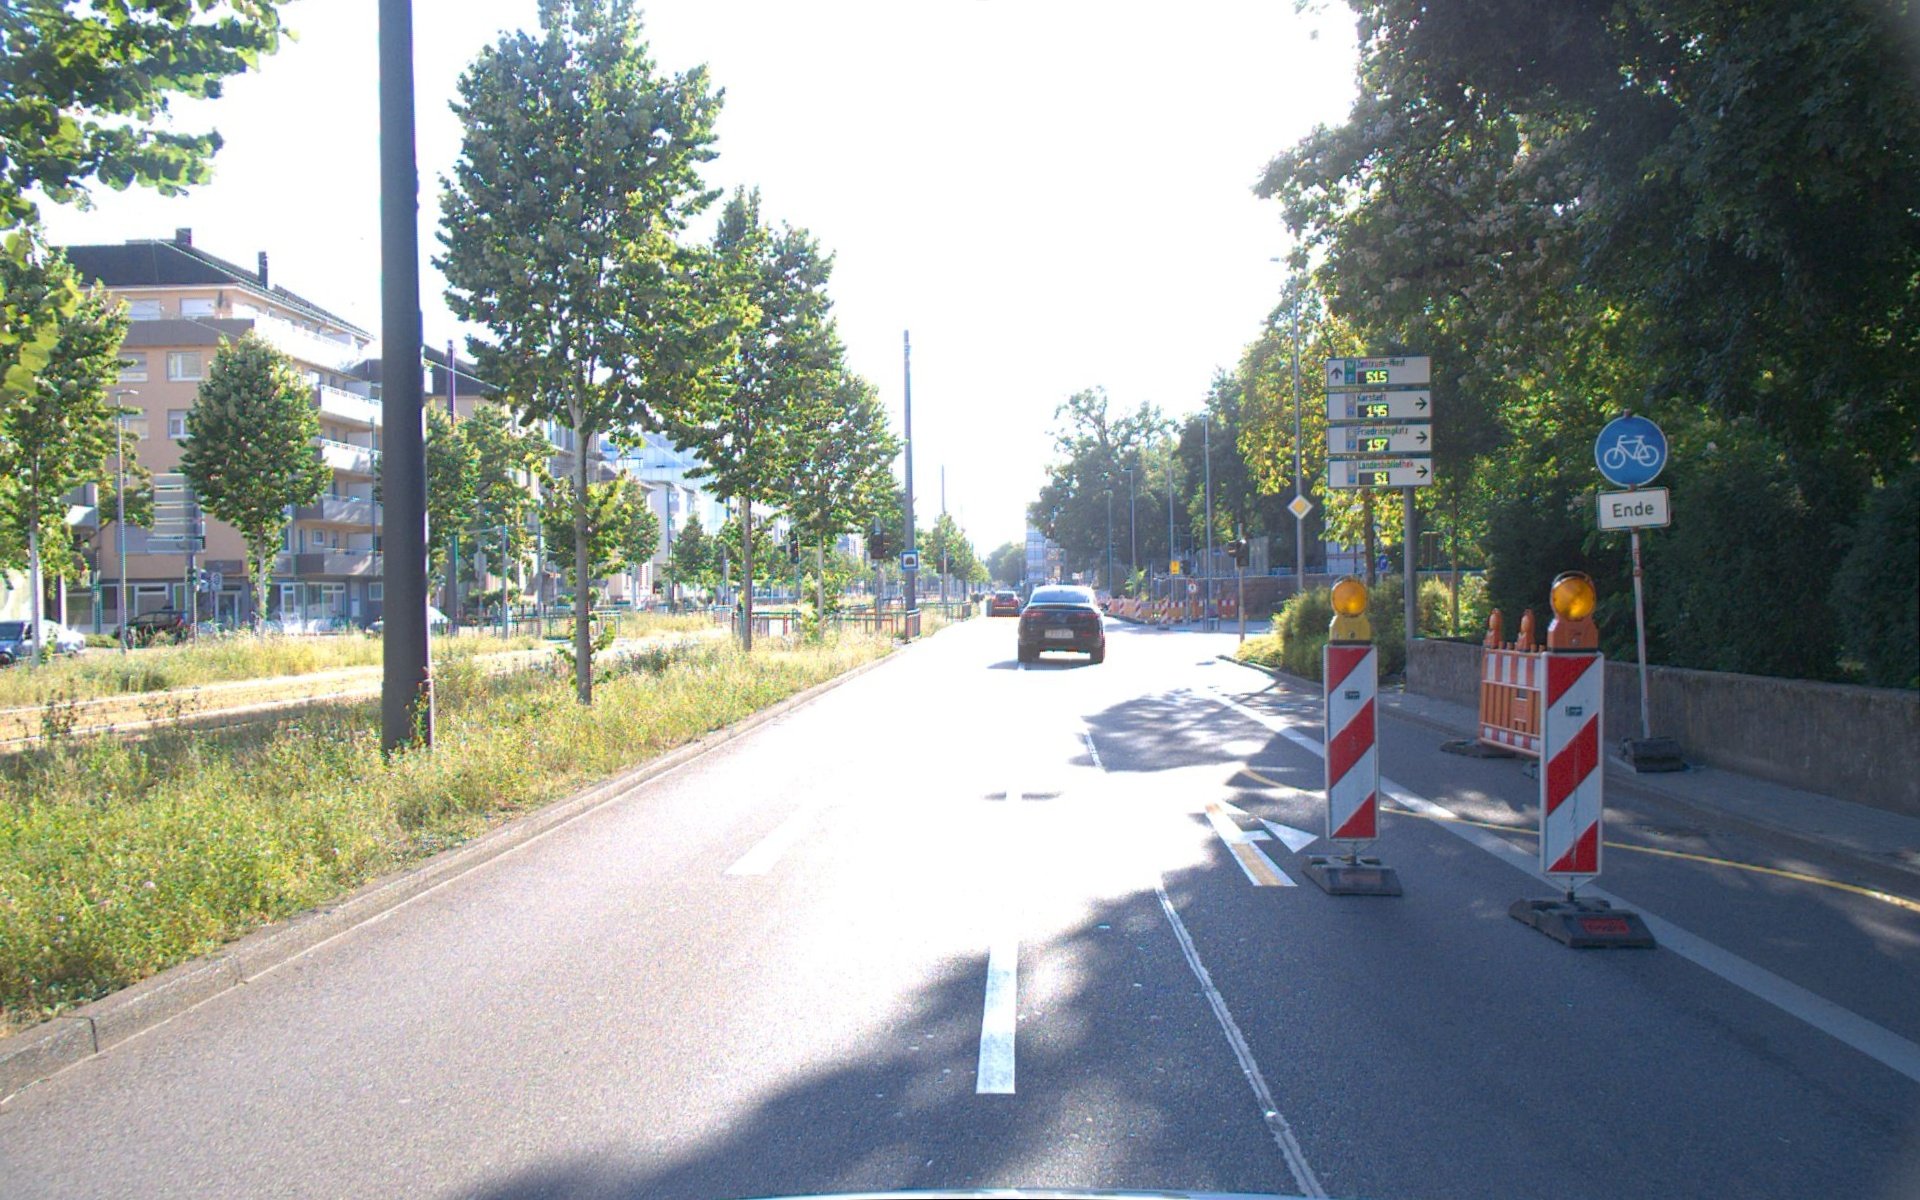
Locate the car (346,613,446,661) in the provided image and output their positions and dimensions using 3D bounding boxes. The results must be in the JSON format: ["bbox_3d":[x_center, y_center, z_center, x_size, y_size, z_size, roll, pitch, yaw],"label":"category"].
[{"bbox_3d":[-20.384,1.307,59.953,1.831,1.616,4.640,1,0,2],"label":"car"}]

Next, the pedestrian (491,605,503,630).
[{"bbox_3d":[-29.564,1.087,105.604,0.438,1.583,0.520,-1,0,30],"label":"pedestrian"}]

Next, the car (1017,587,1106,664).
[{"bbox_3d":[2.328,0.573,38.873,1.963,1.688,4.001,1,0,2],"label":"car"}]

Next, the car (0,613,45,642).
[{"bbox_3d":[-45.835,1.302,78.303,3.904,1.326,2.001,-1,0,2],"label":"car"}]

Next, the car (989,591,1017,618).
[{"bbox_3d":[2.812,0.284,107.251,1.789,1.688,4.001,1,0,2],"label":"car"}]

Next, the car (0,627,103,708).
[{"bbox_3d":[-22.300,1.549,38.836,1.831,1.732,4.489,1,0,2],"label":"car"}]

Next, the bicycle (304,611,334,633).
[{"bbox_3d":[-34.763,1.198,89.669,0.519,1.157,2.587,-1,0,2],"label":"bicycle"}]
